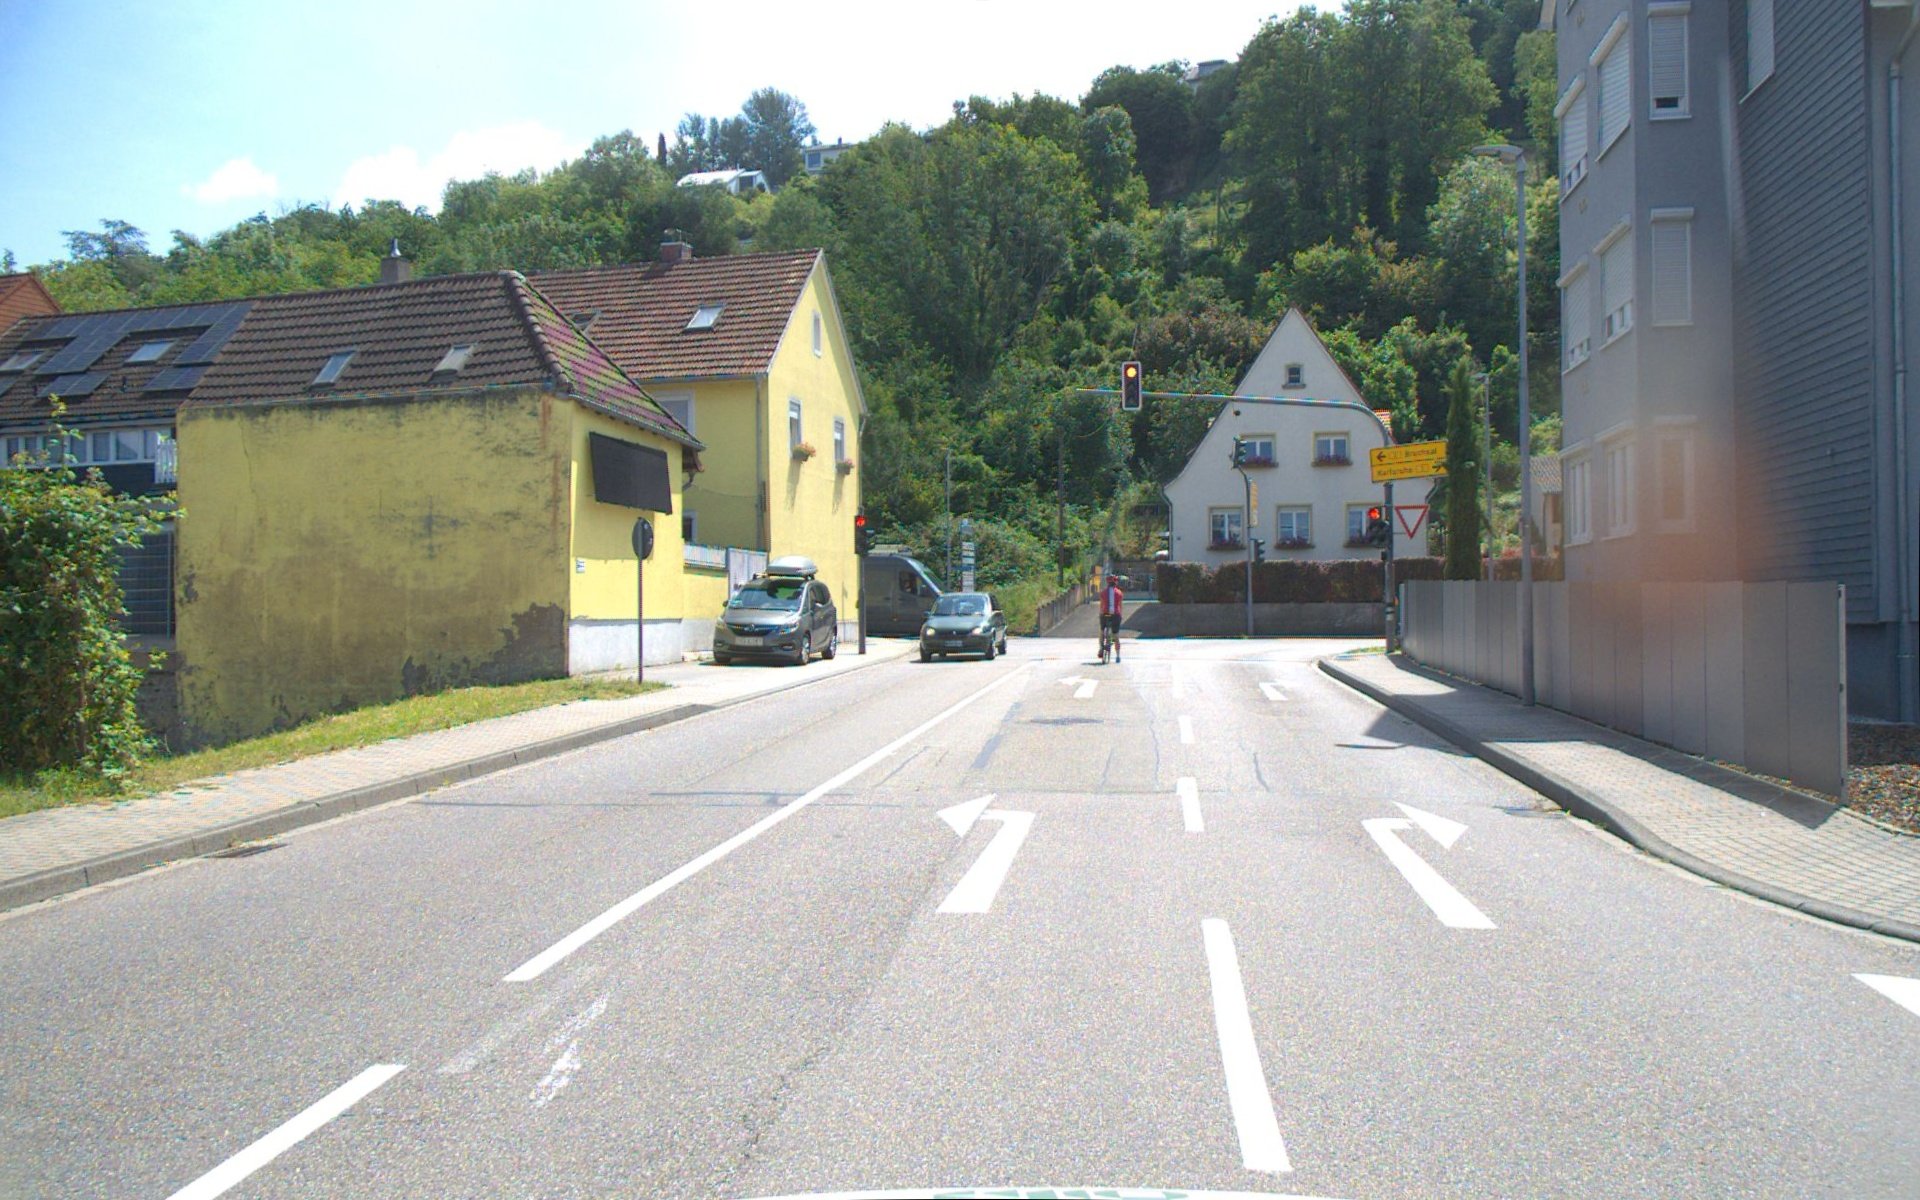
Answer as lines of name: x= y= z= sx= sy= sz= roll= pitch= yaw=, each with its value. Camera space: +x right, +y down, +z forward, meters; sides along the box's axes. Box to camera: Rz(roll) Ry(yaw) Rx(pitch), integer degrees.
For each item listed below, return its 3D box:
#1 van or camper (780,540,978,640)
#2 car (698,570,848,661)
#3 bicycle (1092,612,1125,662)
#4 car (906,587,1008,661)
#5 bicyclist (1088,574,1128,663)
van or camper: x=-2.558 y=-0.287 z=52.510 sx=5.865 sy=3.057 sz=2.220 roll=0 pitch=0 yaw=15
car: x=-3.662 y=0.273 z=33.300 sx=1.951 sy=1.664 sz=4.634 roll=1 pitch=0 yaw=7
bicycle: x=2.873 y=0.697 z=31.952 sx=0.616 sy=0.920 sz=1.658 roll=1 pitch=0 yaw=5
car: x=-0.011 y=0.486 z=35.624 sx=1.742 sy=1.458 sz=3.875 roll=-2 pitch=0 yaw=6
bicyclist: x=2.867 y=0.352 z=32.045 sx=0.744 sy=1.693 sz=0.869 roll=1 pitch=0 yaw=5
